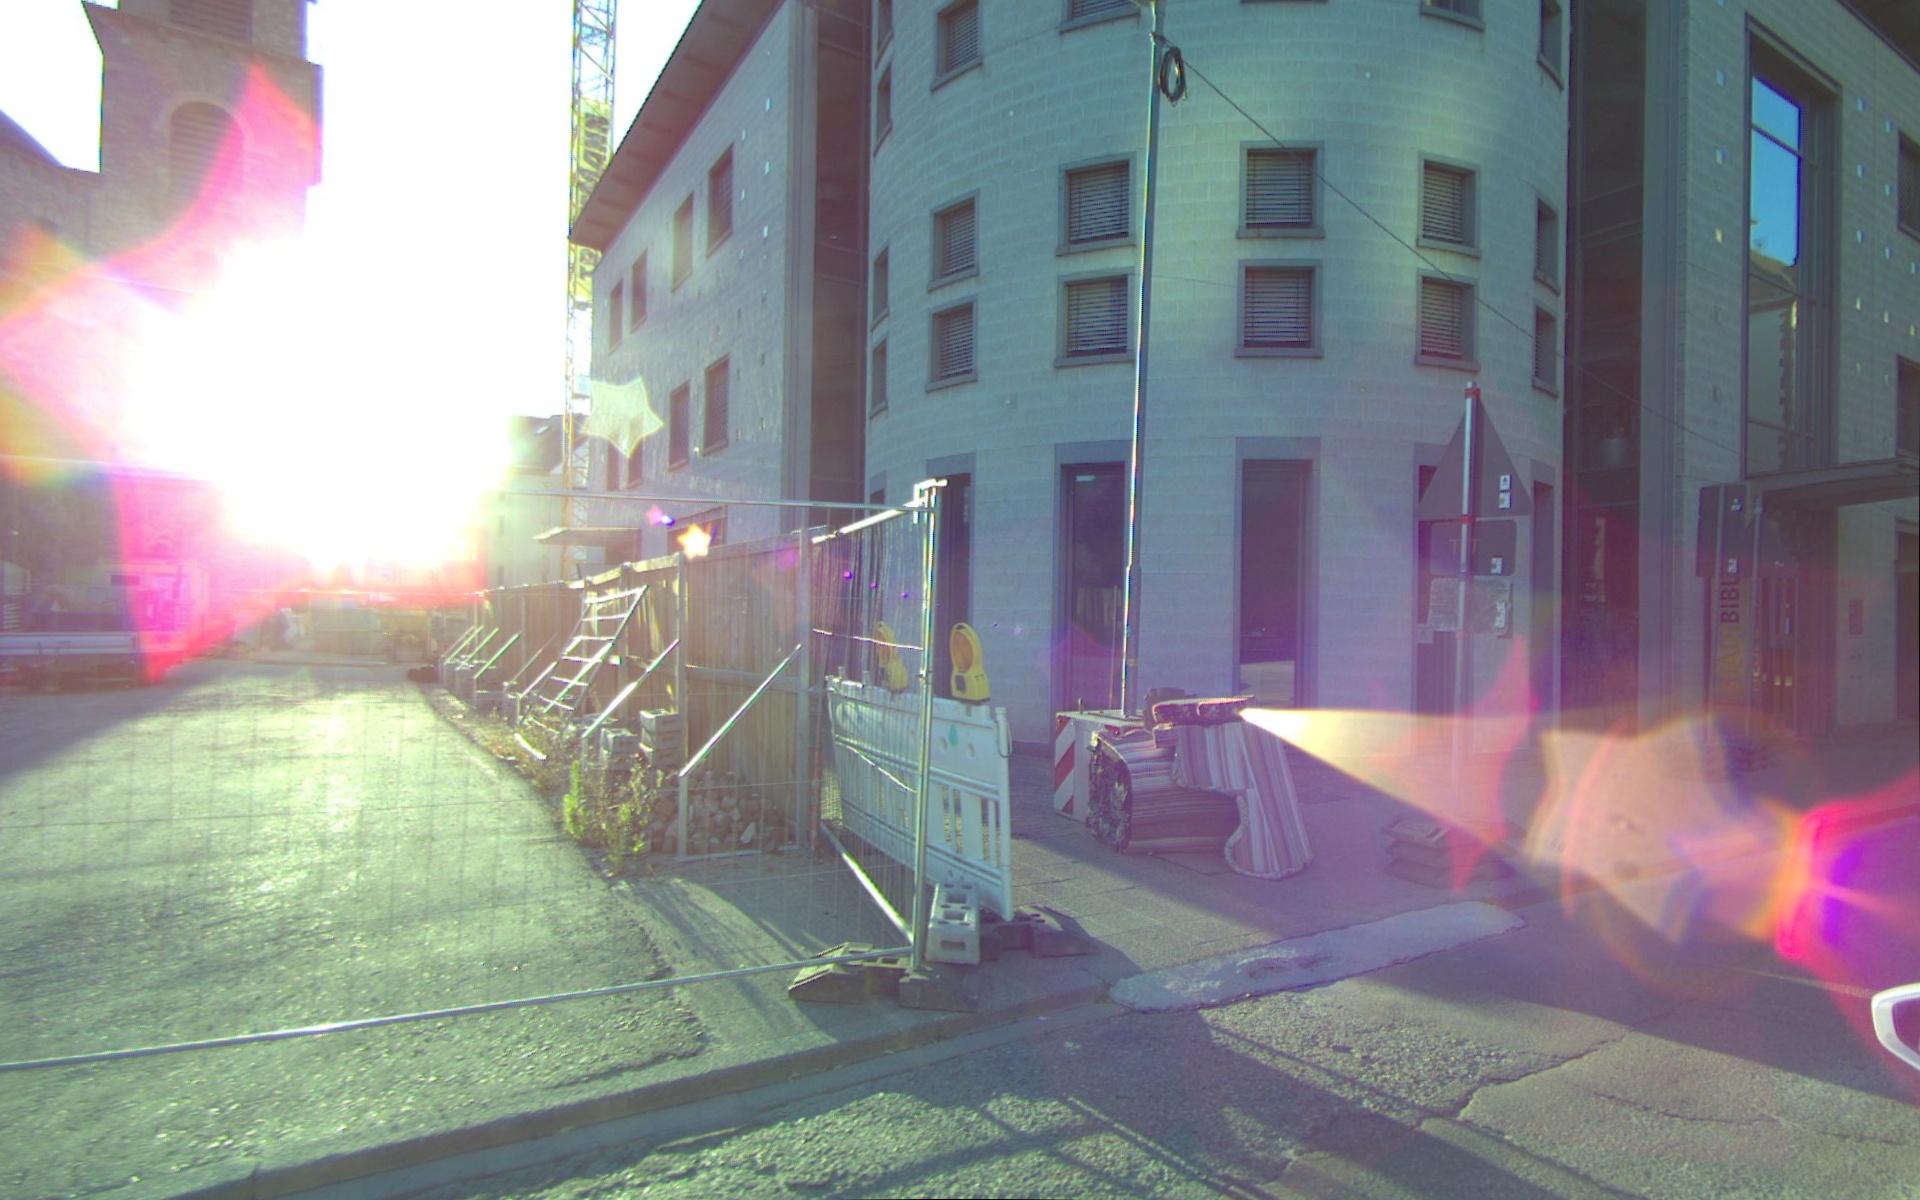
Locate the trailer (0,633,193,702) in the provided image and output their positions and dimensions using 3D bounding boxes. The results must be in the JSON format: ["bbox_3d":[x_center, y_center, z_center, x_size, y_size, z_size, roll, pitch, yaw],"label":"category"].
[{"bbox_3d":[-15.030,1.098,17.300,1.973,1.004,4.341,2,-2,-25],"label":"trailer"}]
